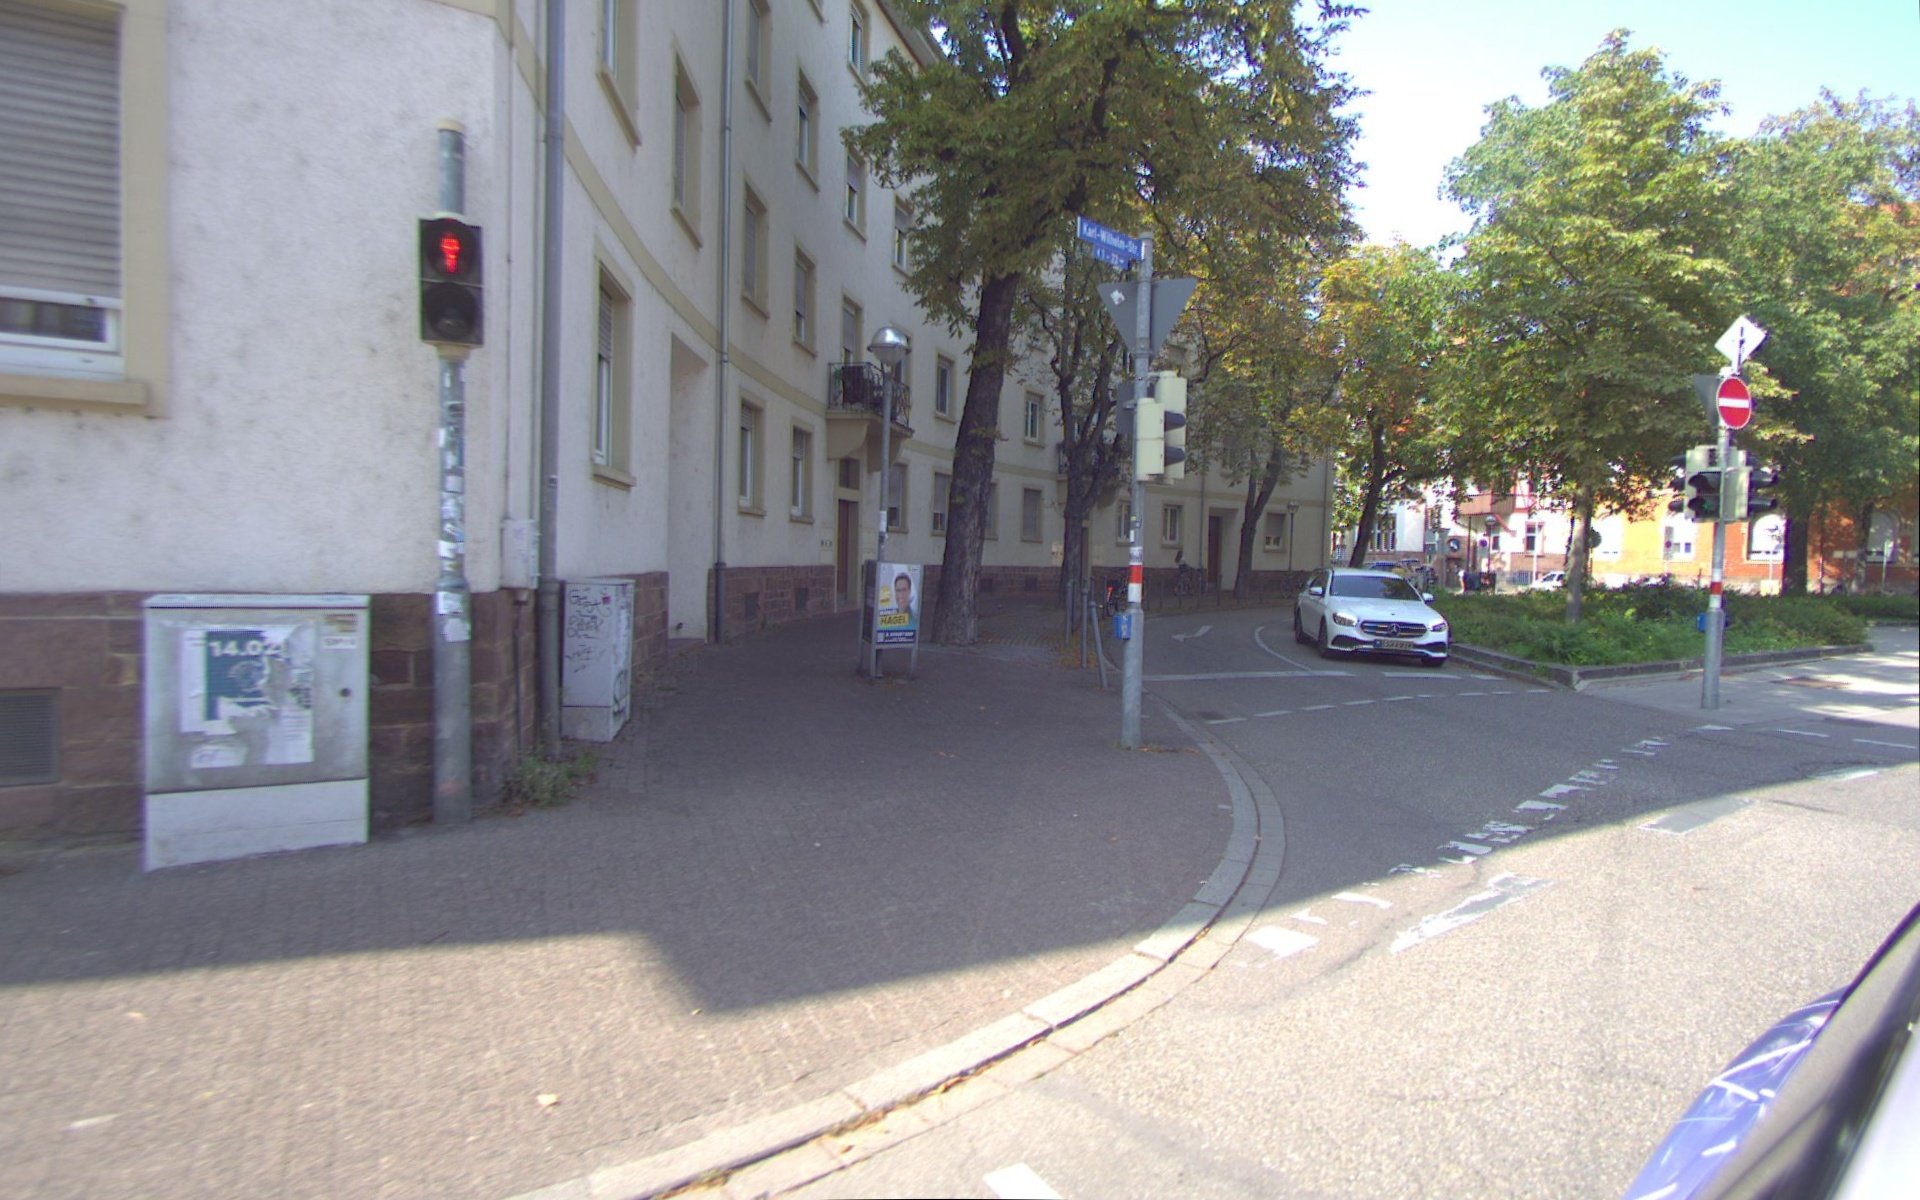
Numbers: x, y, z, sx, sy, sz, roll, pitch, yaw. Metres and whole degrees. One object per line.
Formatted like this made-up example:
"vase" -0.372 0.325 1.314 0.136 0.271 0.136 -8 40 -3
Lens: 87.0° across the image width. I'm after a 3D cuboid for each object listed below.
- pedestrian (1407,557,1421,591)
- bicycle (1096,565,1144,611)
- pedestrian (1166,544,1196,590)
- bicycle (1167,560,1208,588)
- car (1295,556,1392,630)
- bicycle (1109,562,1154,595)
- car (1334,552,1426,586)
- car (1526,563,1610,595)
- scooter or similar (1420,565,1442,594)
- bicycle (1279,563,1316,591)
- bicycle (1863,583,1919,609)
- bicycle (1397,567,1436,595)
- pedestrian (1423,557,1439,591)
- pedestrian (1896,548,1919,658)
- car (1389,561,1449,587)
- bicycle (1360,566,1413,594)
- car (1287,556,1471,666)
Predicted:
"pedestrian" 24.387 -1.398 54.329 0.583 1.785 0.603 2 2 20
"bicycle" 3.972 -0.288 25.010 0.603 1.071 1.821 3 1 28
"pedestrian" 8.252 -1.248 37.844 0.851 1.692 0.687 -1 3 -42
"bicycle" 8.512 -0.967 37.822 1.878 1.019 0.533 -1 3 -45
"car" 8.941 -0.208 23.407 1.734 1.469 3.856 4 3 25
"bicycle" 5.487 -0.684 32.336 0.532 1.019 1.882 3 3 39
"car" 22.068 -1.633 53.223 4.108 1.658 1.666 1 2 -9
"car" 32.144 -1.142 53.623 1.589 1.586 4.008 1 2 -8
"scooter or similar" 19.405 -0.841 41.732 0.434 1.172 1.112 1 2 5
"bicycle" 13.149 -0.891 39.393 1.457 1.073 0.418 0 3 -26
"bicycle" 38.439 -0.166 41.648 1.811 1.072 0.606 1 -1 12
"bicycle" 18.517 -0.778 41.092 0.596 1.071 1.842 1 2 -4
"pedestrian" 24.775 -1.371 53.269 0.647 1.785 0.603 2 2 22
"pedestrian" 16.058 0.087 16.299 0.950 1.744 1.082 0 6 -31
"car" 30.023 -1.705 66.365 1.589 1.586 4.008 1 2 -8
"bicycle" 17.254 -0.806 40.983 0.597 1.071 1.868 0 3 -39
"car" 7.057 0.051 17.629 1.847 1.486 4.941 4 3 10
